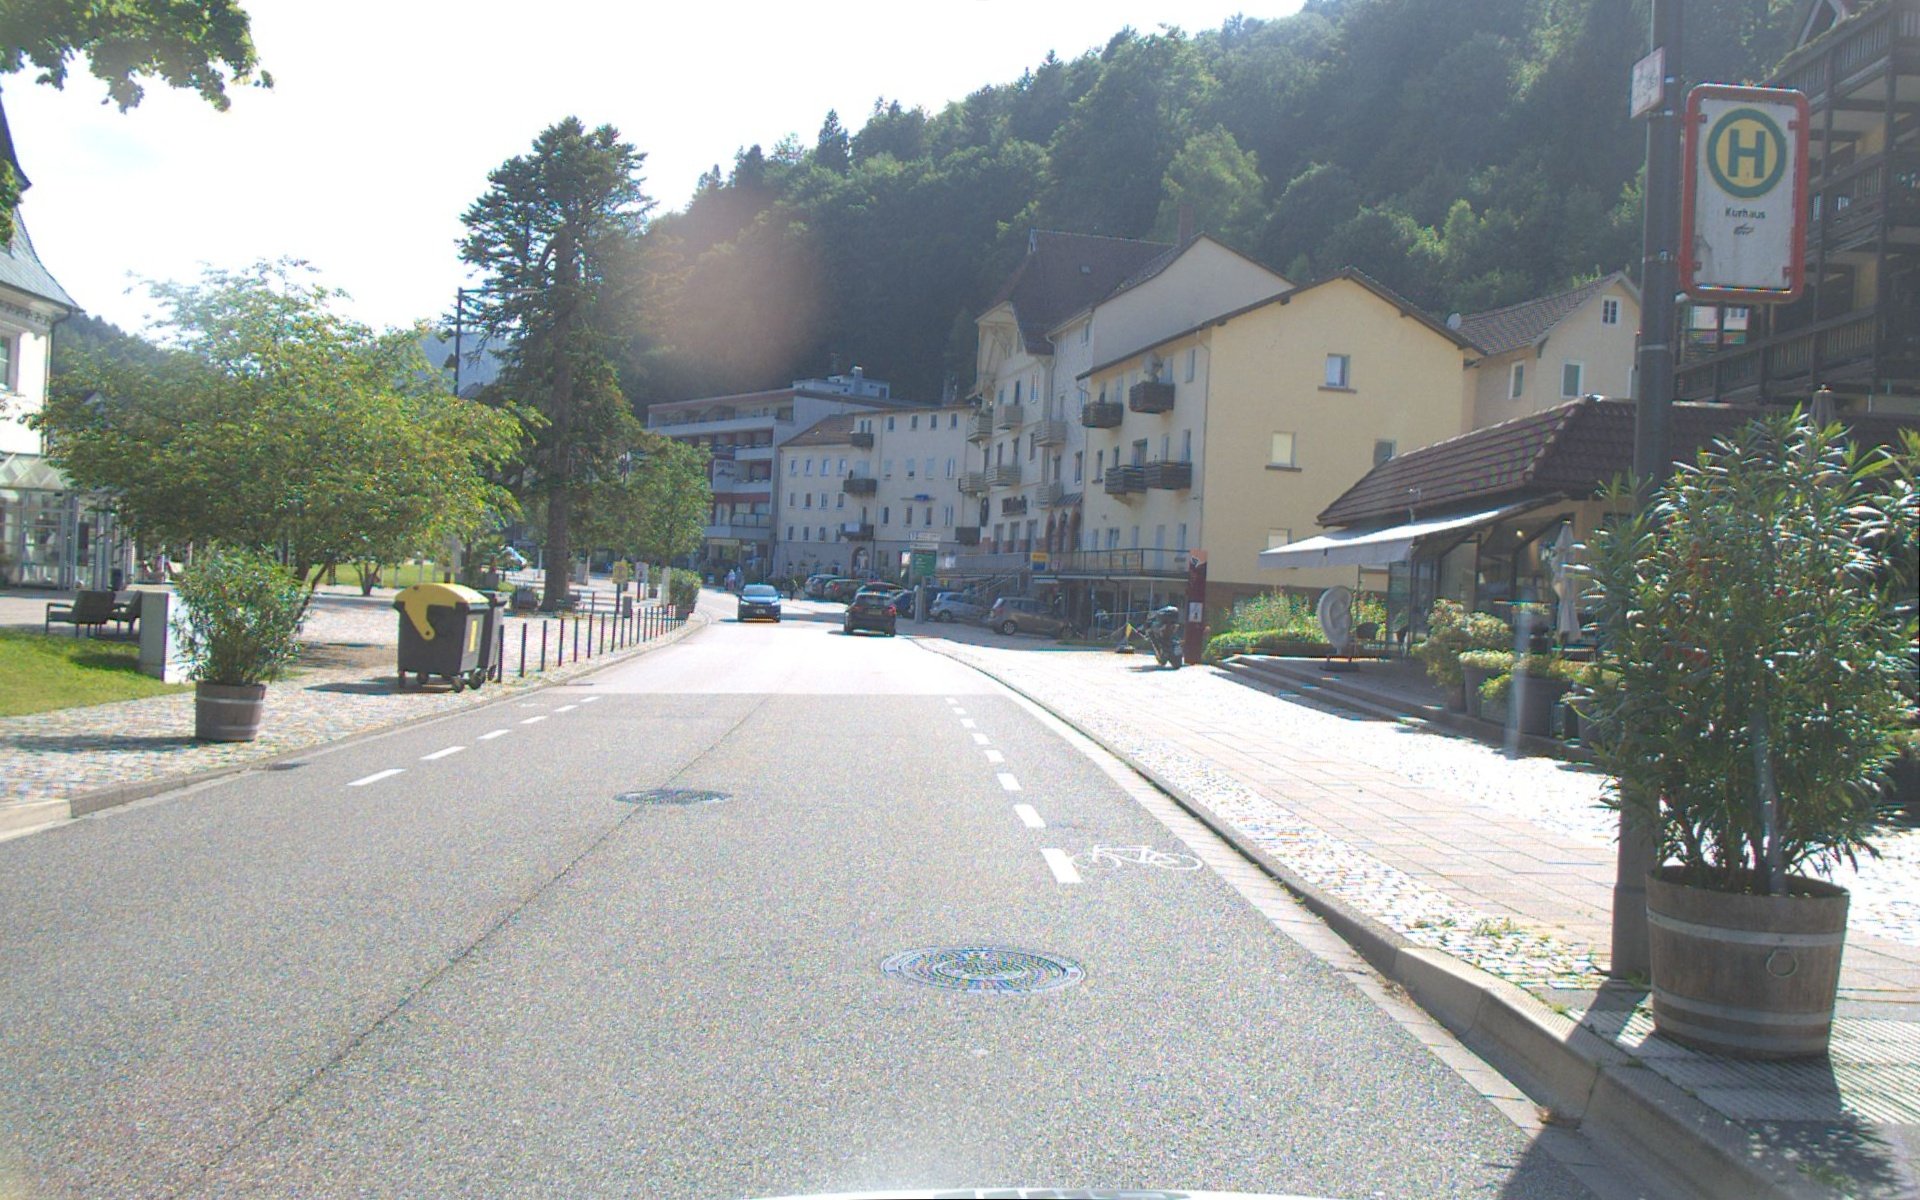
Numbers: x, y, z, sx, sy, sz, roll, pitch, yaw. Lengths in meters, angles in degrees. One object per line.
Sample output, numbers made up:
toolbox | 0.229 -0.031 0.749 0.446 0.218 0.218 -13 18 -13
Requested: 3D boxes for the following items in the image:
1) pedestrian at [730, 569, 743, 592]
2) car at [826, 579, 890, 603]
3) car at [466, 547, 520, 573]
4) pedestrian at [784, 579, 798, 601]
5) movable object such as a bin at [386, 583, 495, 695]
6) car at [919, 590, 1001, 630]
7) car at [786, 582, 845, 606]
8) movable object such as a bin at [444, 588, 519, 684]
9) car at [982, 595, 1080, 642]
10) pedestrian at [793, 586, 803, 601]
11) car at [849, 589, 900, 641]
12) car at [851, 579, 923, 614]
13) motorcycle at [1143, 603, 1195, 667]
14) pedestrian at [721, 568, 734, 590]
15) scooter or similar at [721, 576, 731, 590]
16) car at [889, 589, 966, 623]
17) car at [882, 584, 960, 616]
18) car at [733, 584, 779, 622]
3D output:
pedestrian | -17.253 -1.501 127.741 0.662 1.758 0.700 3 0 -33
car | -6.871 -0.618 111.787 3.969 1.542 1.754 0 3 -31
car | -38.967 -3.327 138.034 4.925 1.987 1.851 2 1 40
pedestrian | -11.300 -0.683 110.692 0.729 1.467 0.625 1 1 -37
movable object such as a bin | -7.324 0.528 23.401 1.057 1.452 1.376 5 0 -4
car | -0.020 0.504 84.446 3.840 1.616 1.770 6 0 -11
car | -10.295 -0.435 118.193 3.822 1.640 1.754 0 3 -31
movable object such as a bin | -7.314 0.535 25.337 0.740 1.364 1.293 5 0 -4
car | 3.036 0.785 70.922 3.794 1.581 1.755 6 0 -14
pedestrian | -10.876 -0.437 111.016 0.413 1.019 0.525 1 1 -33
car | -3.182 0.522 60.748 1.694 1.601 3.750 4 2 -4
car | -4.466 -0.218 100.820 4.012 1.694 1.768 6 0 -11
motorcycle | 4.522 0.745 35.862 0.683 1.319 2.210 0 0 -4
pedestrian | -17.779 -1.603 126.382 0.750 1.621 0.621 3 0 -33
scooter or similar | -17.891 -1.300 126.530 0.591 0.967 0.469 3 0 -34
car | -1.792 0.319 89.755 3.840 1.486 1.732 6 0 -11
car | -2.271 -0.009 96.139 4.276 1.486 1.769 5 -1 -9
car | -8.425 0.107 68.633 1.707 1.488 4.183 1 0 -5
